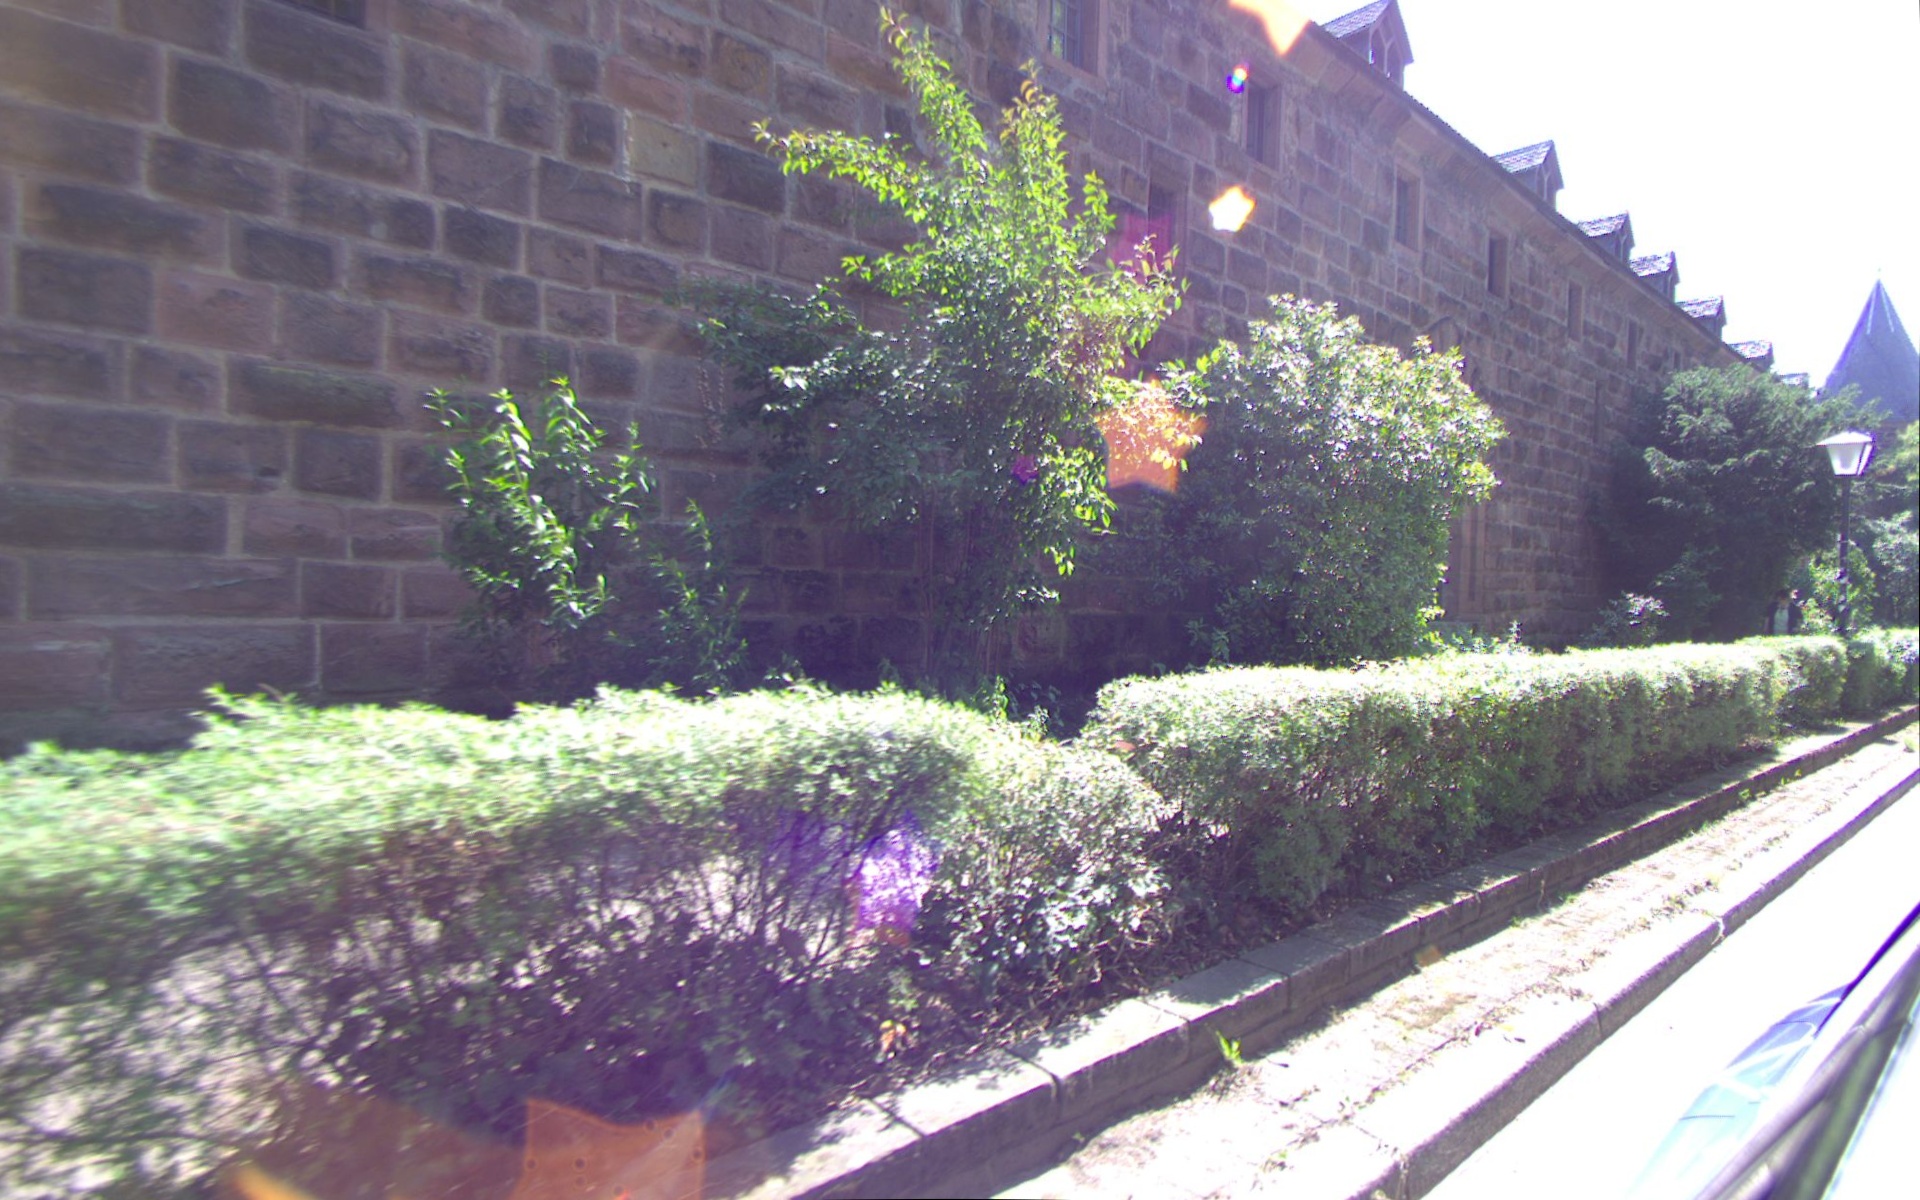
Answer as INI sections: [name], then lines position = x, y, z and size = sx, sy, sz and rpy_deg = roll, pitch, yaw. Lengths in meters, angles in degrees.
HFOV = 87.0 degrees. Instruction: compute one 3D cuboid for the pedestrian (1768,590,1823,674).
[pedestrian]
position = 17.037, 0.638, 20.647
size = 0.692, 1.673, 0.700
rpy_deg = 1, 0, -38
